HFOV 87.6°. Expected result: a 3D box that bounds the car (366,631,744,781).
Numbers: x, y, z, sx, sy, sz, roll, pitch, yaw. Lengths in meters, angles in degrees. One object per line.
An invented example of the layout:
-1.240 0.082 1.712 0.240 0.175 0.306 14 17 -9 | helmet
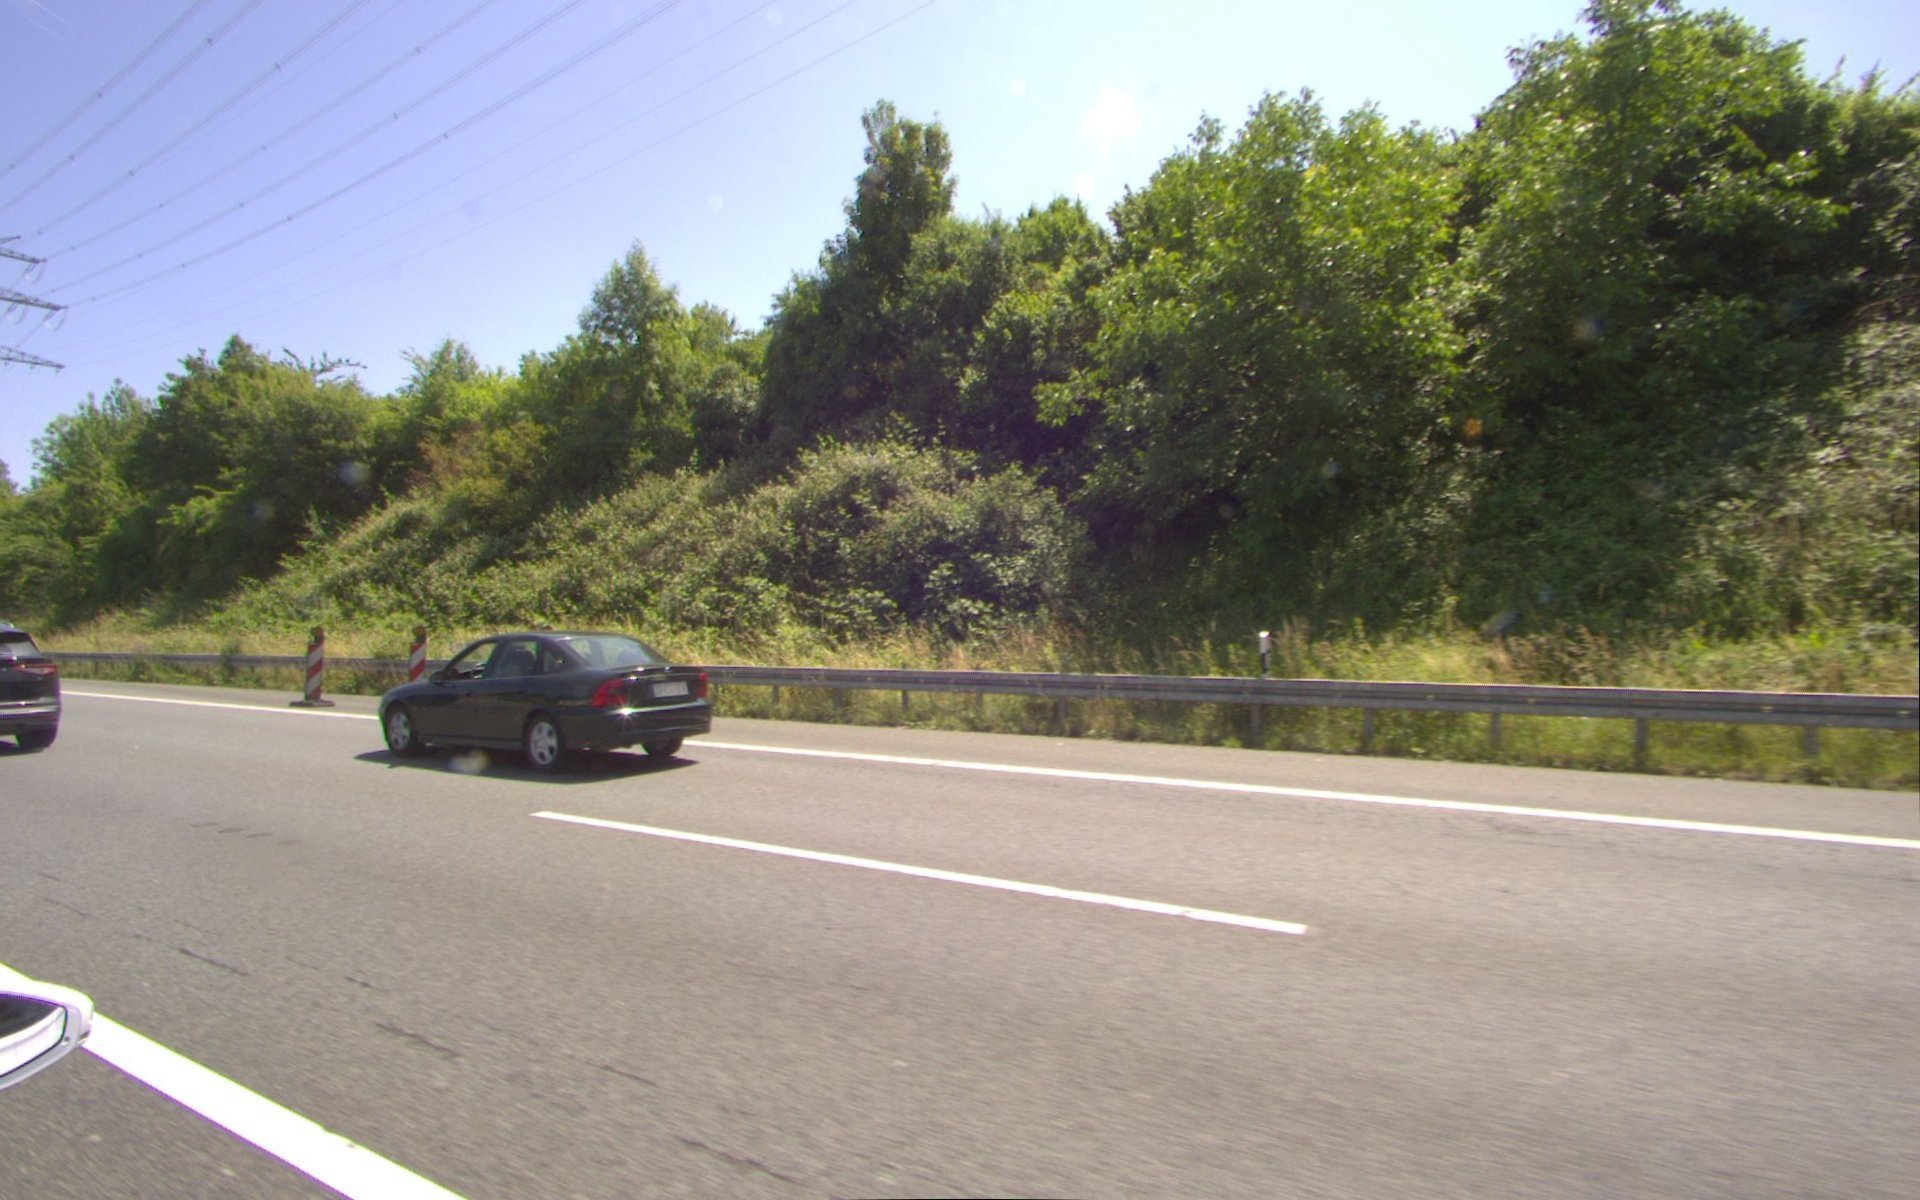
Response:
-4.591 1.053 11.187 4.240 1.395 1.732 -1 -2 31 | car

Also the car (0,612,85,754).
-12.989 0.973 12.548 4.366 1.635 1.825 -1 -1 31 | car
